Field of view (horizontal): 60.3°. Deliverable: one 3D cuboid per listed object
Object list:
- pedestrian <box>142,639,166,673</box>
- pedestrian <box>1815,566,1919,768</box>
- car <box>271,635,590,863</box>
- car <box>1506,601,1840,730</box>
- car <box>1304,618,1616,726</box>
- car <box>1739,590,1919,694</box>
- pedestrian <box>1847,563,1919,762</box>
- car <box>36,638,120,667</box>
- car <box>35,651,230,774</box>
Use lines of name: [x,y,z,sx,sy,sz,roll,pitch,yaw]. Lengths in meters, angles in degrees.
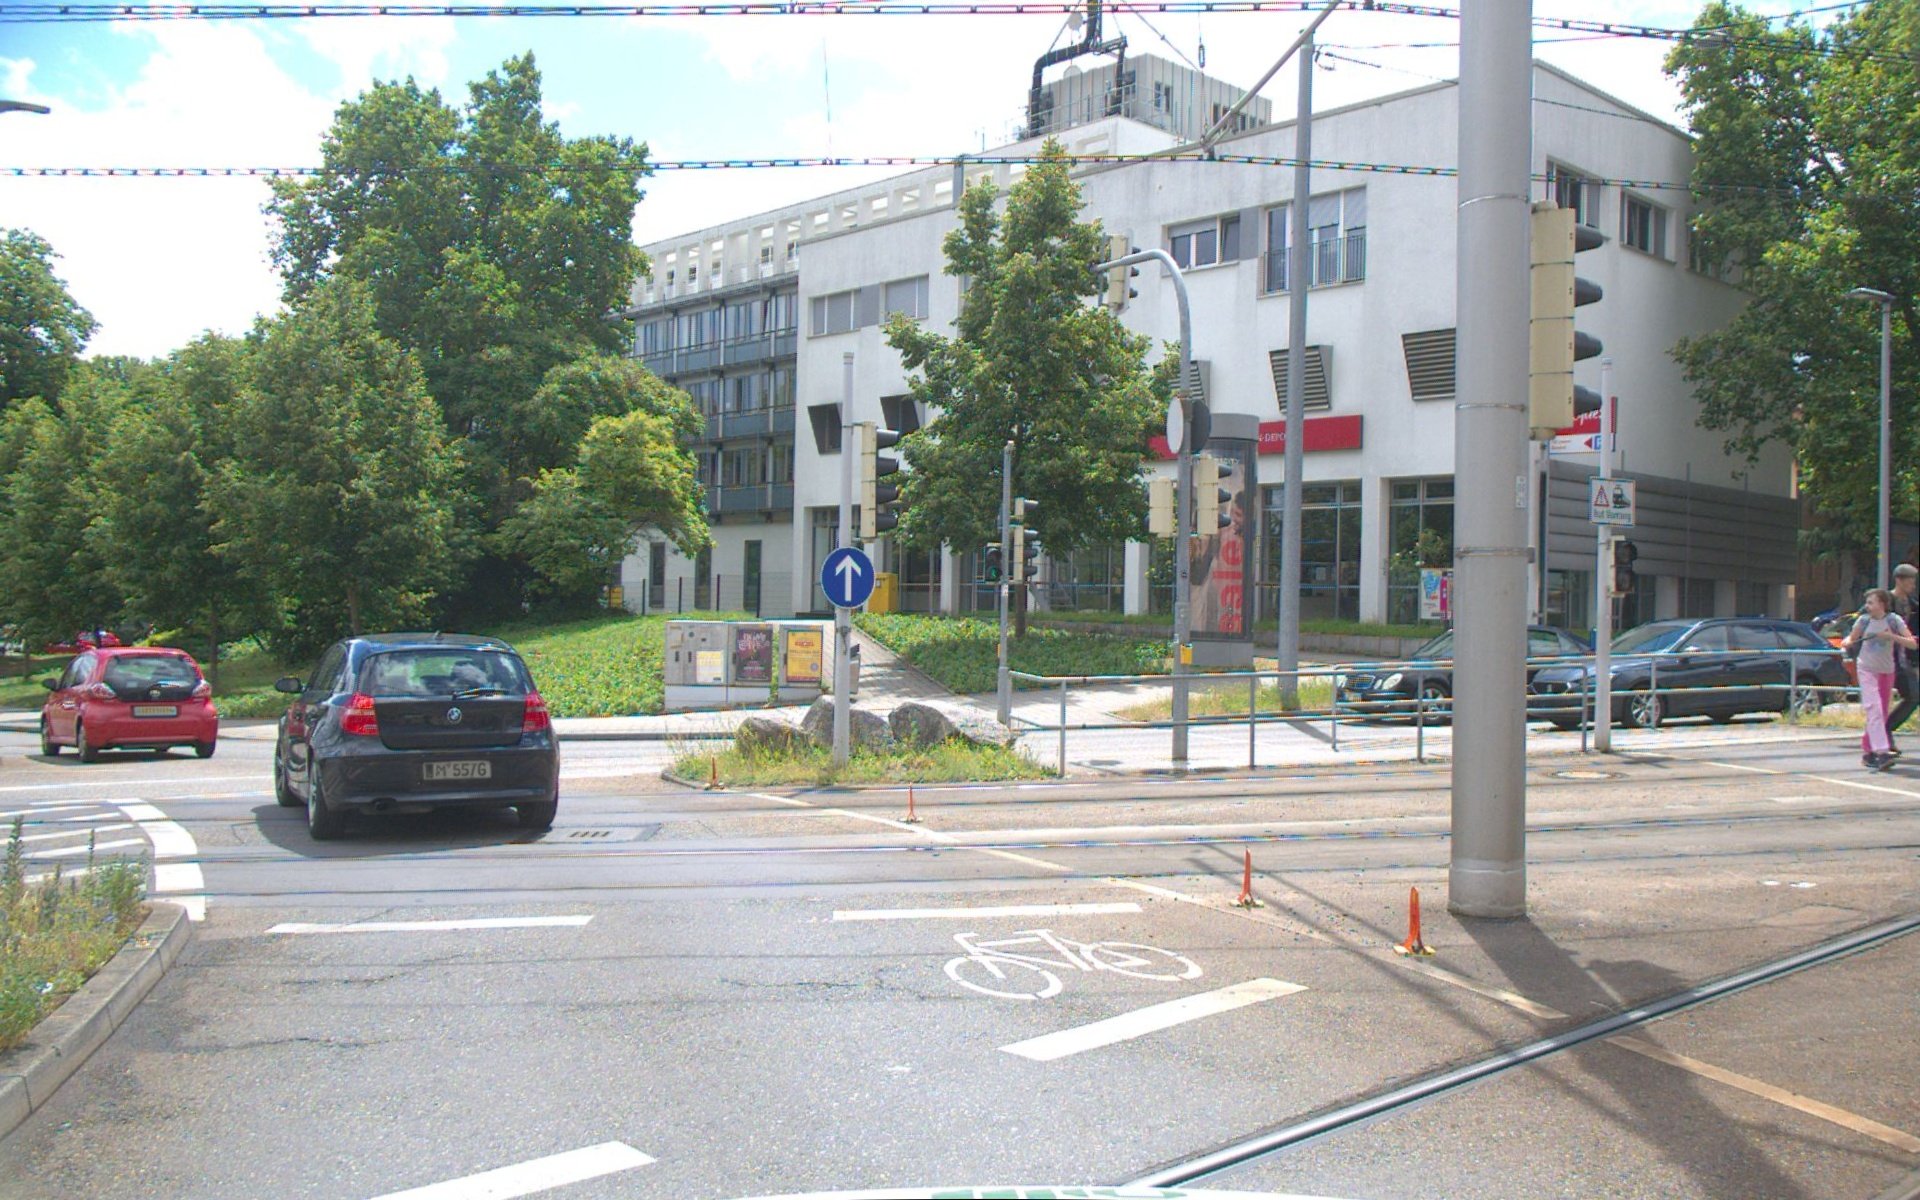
pedestrian: [-42.466,2.953,87.156,0.978,1.791,0.847,0,-2,-37]
pedestrian: [8.288,0.594,14.964,0.734,1.780,0.693,-1,-1,4]
car: [-4.281,1.031,12.960,1.794,1.446,3.965,-1,-1,-27]
car: [9.731,0.877,22.614,4.019,1.463,1.730,-3,-2,-19]
car: [7.673,1.072,25.452,4.248,1.491,2.040,-1,-1,-21]
car: [15.622,0.708,28.331,3.930,1.671,1.987,0,-1,-22]
pedestrian: [9.104,0.589,15.987,0.806,1.874,0.967,-1,-1,23]
car: [-52.944,3.134,99.307,1.964,1.529,4.071,1,1,41]
car: [-11.263,1.451,22.417,1.753,1.457,3.431,0,-1,-38]
